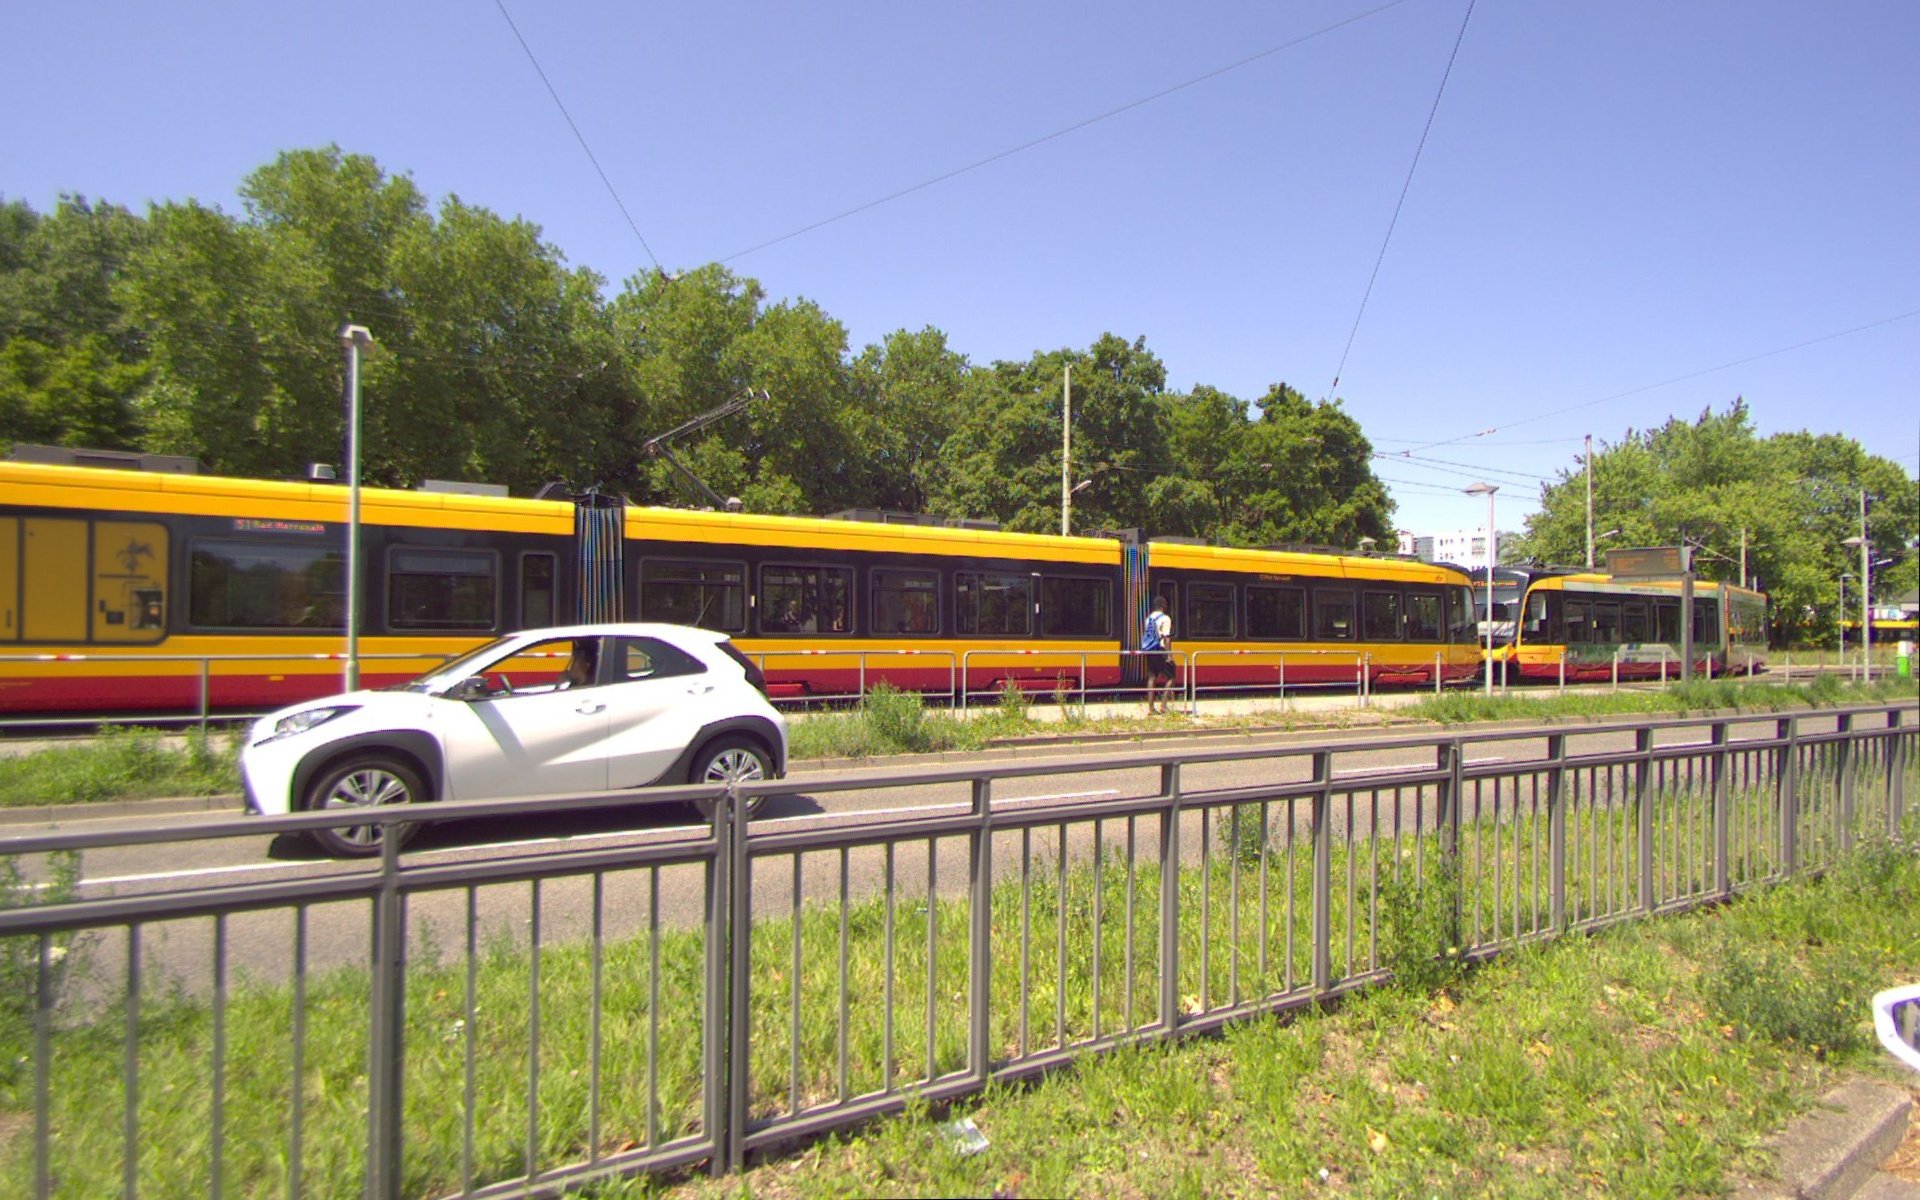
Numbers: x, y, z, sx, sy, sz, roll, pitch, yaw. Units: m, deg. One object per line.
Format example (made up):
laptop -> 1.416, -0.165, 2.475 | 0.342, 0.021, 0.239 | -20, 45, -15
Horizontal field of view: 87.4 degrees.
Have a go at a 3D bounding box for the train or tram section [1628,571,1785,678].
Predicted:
train or tram section -> 30.005, 0.933, 40.039 | 12.367, 3.673, 3.014 | 1, 0, -44

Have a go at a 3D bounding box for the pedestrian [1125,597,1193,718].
pedestrian -> 3.076, 0.873, 15.535 | 0.767, 1.815, 0.628 | 1, 0, -31

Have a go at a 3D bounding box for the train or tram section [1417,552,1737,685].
train or tram section -> 20.487, 0.641, 32.743 | 13.742, 3.673, 3.027 | 1, 0, -32

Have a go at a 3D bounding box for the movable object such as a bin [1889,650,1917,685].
movable object such as a bin -> 27.595, 1.972, 29.386 | 0.638, 0.991, 0.478 | 1, -1, -34

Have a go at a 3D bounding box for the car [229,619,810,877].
car -> -3.201, 0.931, 7.683 | 3.678, 1.524, 1.760 | 1, -1, -31

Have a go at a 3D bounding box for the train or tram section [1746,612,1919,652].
train or tram section -> 87.687, 3.075, 101.096 | 3.016, 3.512, 13.135 | 1, 0, -35

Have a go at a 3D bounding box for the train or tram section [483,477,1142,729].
train or tram section -> -2.285, 0.169, 19.584 | 12.446, 3.791, 3.029 | 1, 0, -30

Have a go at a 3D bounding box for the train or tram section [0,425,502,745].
train or tram section -> -12.567, -0.195, 13.522 | 11.404, 3.907, 2.936 | 1, 0, -30

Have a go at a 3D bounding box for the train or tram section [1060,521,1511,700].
train or tram section -> 8.838, 0.355, 25.970 | 13.102, 3.817, 3.030 | 1, 0, -30

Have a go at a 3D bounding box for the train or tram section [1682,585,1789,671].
train or tram section -> 37.628, 1.293, 49.155 | 3.001, 3.673, 12.419 | 1, 0, 33
